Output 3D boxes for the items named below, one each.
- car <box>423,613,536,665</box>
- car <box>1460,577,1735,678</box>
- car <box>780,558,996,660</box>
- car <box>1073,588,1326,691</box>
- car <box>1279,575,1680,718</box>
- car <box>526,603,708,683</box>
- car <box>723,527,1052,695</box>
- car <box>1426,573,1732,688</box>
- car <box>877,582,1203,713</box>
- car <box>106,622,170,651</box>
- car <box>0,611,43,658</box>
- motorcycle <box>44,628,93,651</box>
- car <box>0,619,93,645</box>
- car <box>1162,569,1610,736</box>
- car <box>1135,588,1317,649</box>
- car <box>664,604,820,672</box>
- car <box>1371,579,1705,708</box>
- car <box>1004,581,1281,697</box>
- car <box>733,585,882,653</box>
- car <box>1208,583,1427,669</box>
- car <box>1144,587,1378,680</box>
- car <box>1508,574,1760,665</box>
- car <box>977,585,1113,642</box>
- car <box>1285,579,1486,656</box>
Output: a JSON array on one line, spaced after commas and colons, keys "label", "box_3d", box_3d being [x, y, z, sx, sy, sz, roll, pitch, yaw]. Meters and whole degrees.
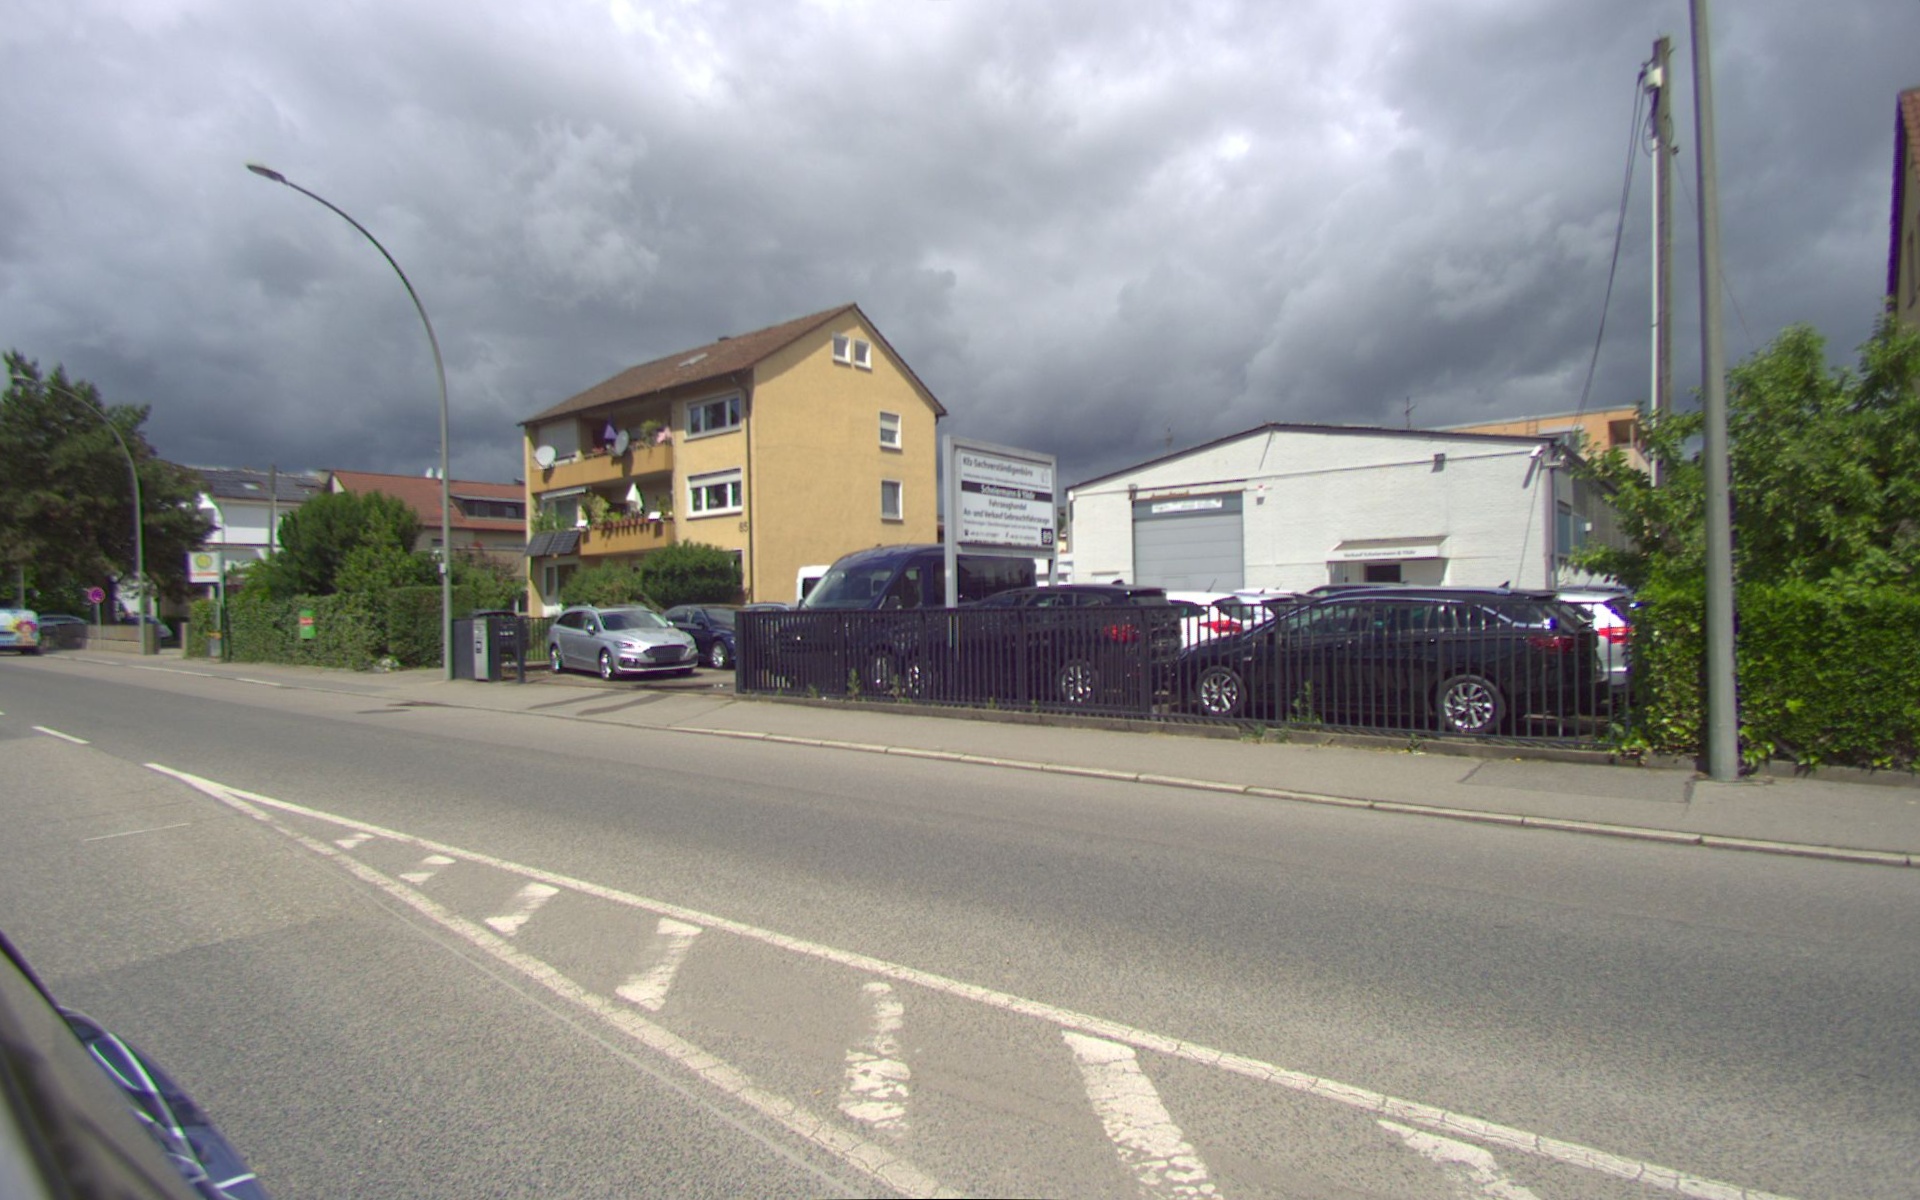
[{"label": "car", "box_3d": [-14.384, 1.120, 30.170, 1.823, 1.437, 4.335, 0, -1, -43]}, {"label": "car", "box_3d": [11.313, 0.482, 18.171, 3.990, 1.630, 1.761, -1, -1, 35]}, {"label": "car", "box_3d": [-2.114, 0.301, 27.882, 6.134, 2.514, 2.386, -1, -3, 43]}, {"label": "car", "box_3d": [4.168, 0.656, 17.849, 3.990, 1.630, 1.761, -1, -1, 35]}, {"label": "car", "box_3d": [6.551, 0.535, 12.919, 4.260, 1.518, 2.134, -1, -1, 37]}, {"label": "car", "box_3d": [-7.571, 0.862, 21.976, 1.968, 1.497, 5.349, 0, -1, -40]}, {"label": "car", "box_3d": [-1.062, 0.193, 18.227, 2.475, 2.515, 5.977, -1, -1, 39]}, {"label": "car", "box_3d": [9.846, 0.462, 16.248, 3.994, 1.630, 1.759, -1, -1, 38]}, {"label": "car", "box_3d": [1.067, 0.626, 14.572, 4.277, 1.607, 2.013, -1, -1, 37]}, {"label": "car", "box_3d": [-45.723, 2.010, 56.269, 4.079, 1.555, 1.751, -1, -1, 36]}, {"label": "car", "box_3d": [-39.619, 1.453, 41.799, 4.891, 1.868, 1.815, -2, -5, 40]}, {"label": "motorcycle", "box_3d": [-46.795, 2.054, 53.134, 1.845, 1.174, 0.827, 0, -1, -34]}, {"label": "car", "box_3d": [-60.744, 2.094, 66.872, 1.970, 1.563, 4.960, -1, 0, 38]}, {"label": "car", "box_3d": [4.694, 0.522, 11.378, 4.260, 1.518, 2.133, -1, -1, 37]}, {"label": "car", "box_3d": [8.065, 0.563, 30.905, 4.998, 1.726, 2.030, -1, -1, 37]}, {"label": "car", "box_3d": [-5.220, 0.853, 23.816, 1.821, 1.437, 4.338, 0, -1, -39]}, {"label": "car", "box_3d": [8.292, 0.583, 14.666, 3.994, 1.630, 1.759, -1, -1, 38]}, {"label": "car", "box_3d": [2.852, 0.590, 16.125, 3.990, 1.630, 1.761, -1, -1, 35]}, {"label": "car", "box_3d": [-3.976, 0.479, 25.879, 1.821, 1.589, 4.338, 0, -1, -39]}, {"label": "car", "box_3d": [7.426, 0.532, 21.137, 3.990, 1.630, 1.761, -1, -1, 35]}, {"label": "car", "box_3d": [5.773, 0.623, 19.554, 3.990, 1.630, 1.761, -1, -1, 35]}, {"label": "car", "box_3d": [13.228, 0.390, 20.081, 3.990, 1.630, 1.761, -1, -1, 35]}, {"label": "car", "box_3d": [2.832, 0.466, 34.132, 4.328, 1.805, 1.826, -1, -1, 41]}, {"label": "car", "box_3d": [9.721, 0.402, 23.221, 3.990, 1.630, 1.761, -1, -1, 35]}]
